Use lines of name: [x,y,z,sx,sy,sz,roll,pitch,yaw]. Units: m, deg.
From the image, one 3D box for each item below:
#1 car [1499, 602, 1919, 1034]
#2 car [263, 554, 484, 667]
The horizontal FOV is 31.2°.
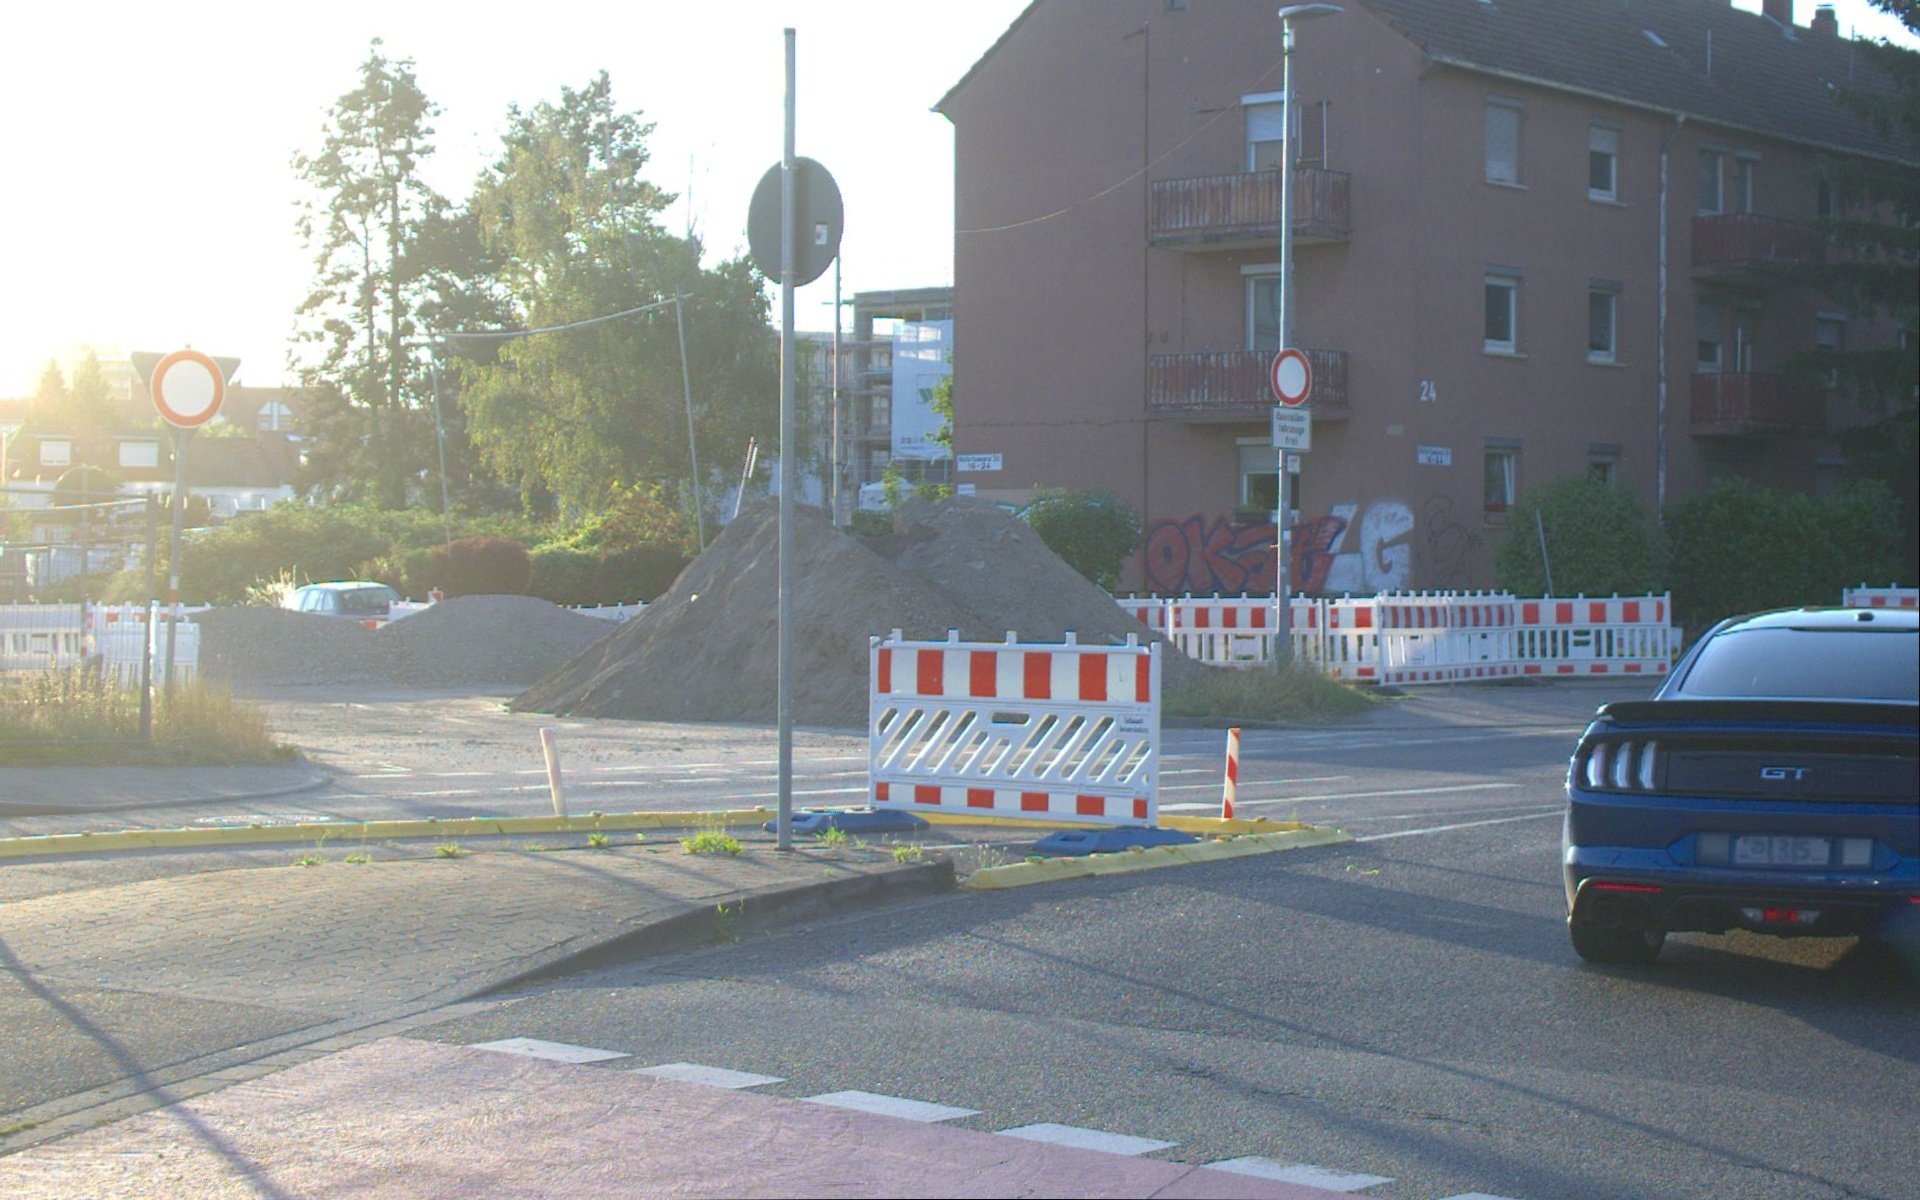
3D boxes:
car: [3.721,0.728,13.635,1.954,1.337,4.665,2,1,24]
car: [-9.287,0.134,54.238,1.993,1.700,4.000,0,1,-33]
